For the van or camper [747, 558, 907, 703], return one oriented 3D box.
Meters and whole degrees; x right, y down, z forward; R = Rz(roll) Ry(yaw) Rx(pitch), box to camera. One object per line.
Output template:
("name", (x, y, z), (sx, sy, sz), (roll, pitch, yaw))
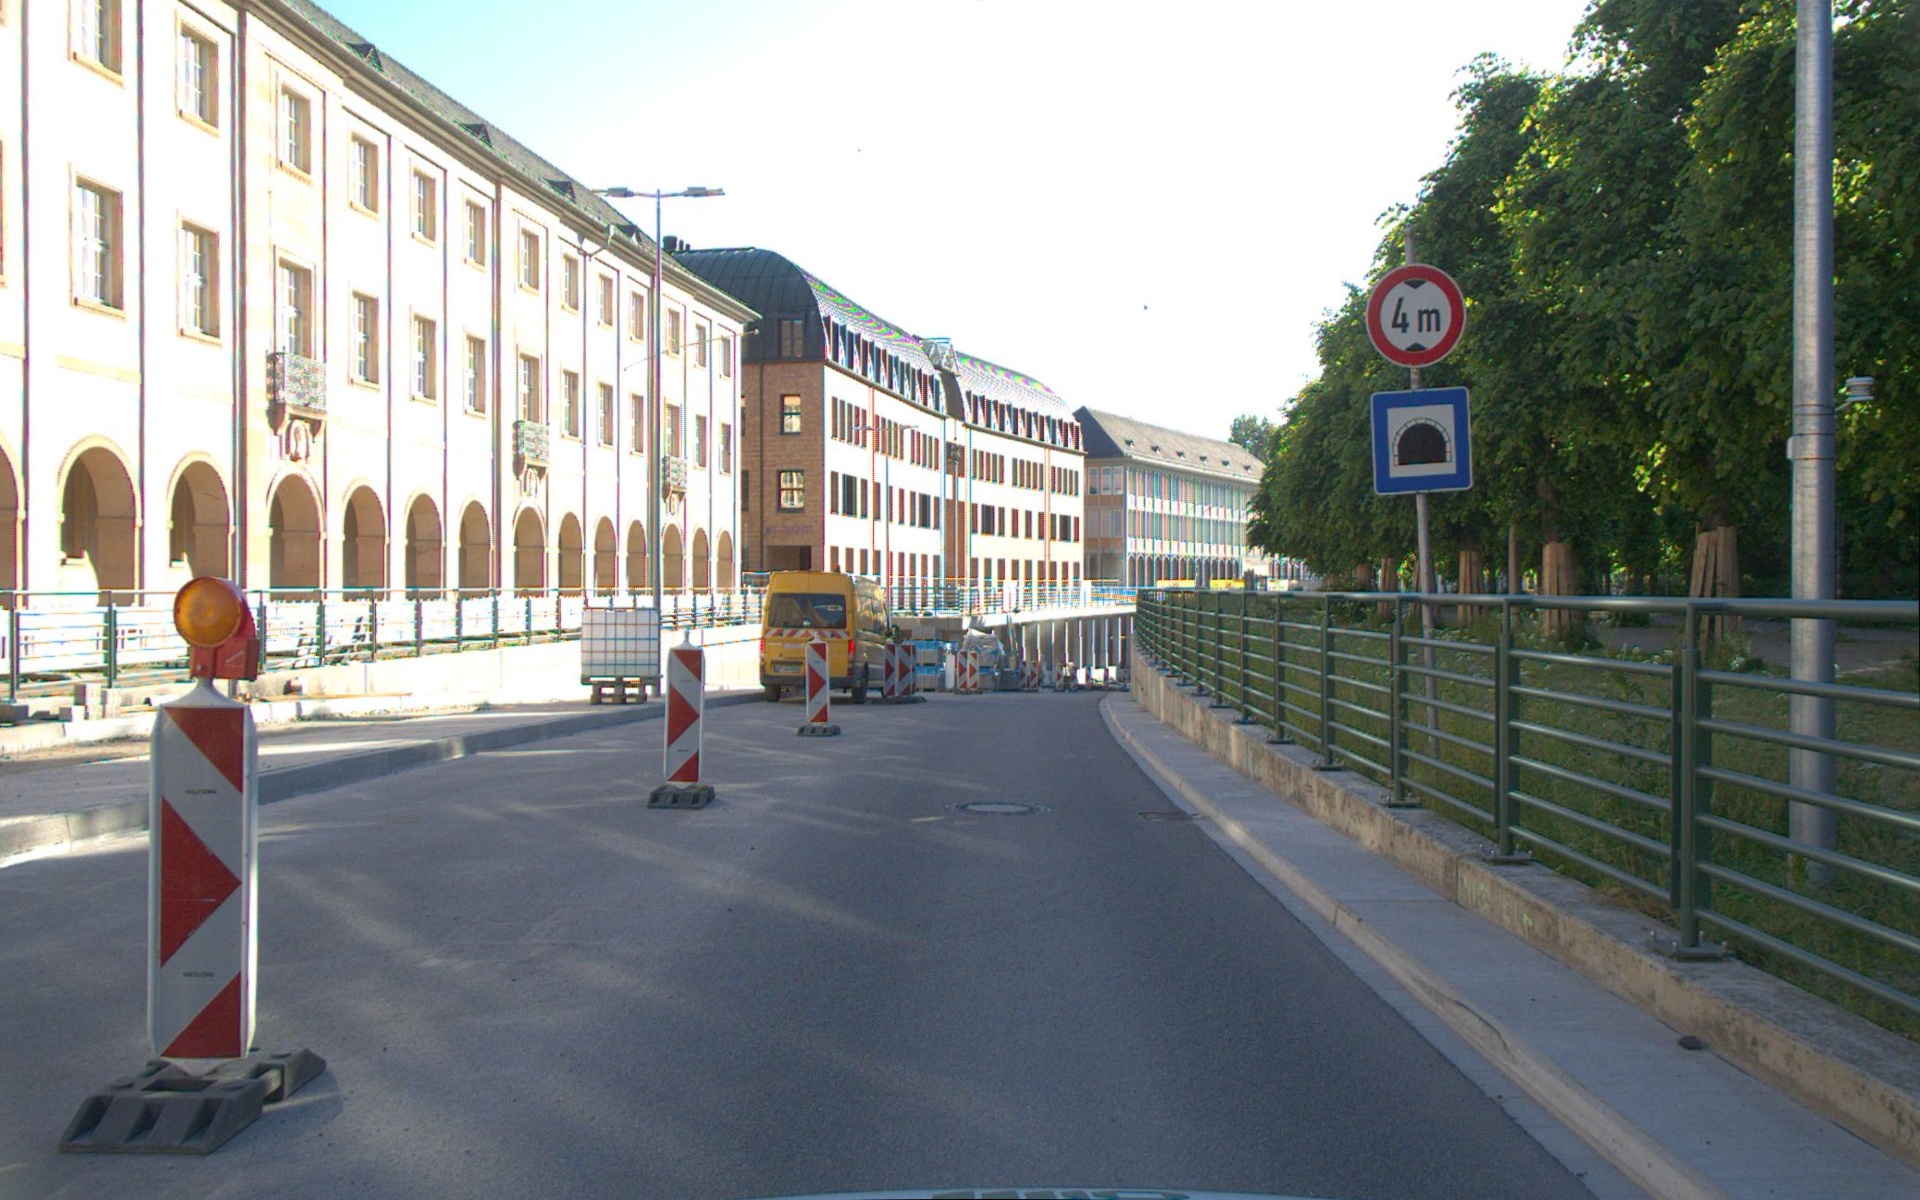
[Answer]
("van or camper", (-2.644, 0.705, 34.867), (2.147, 2.658, 6.827), (2, -2, 5))
